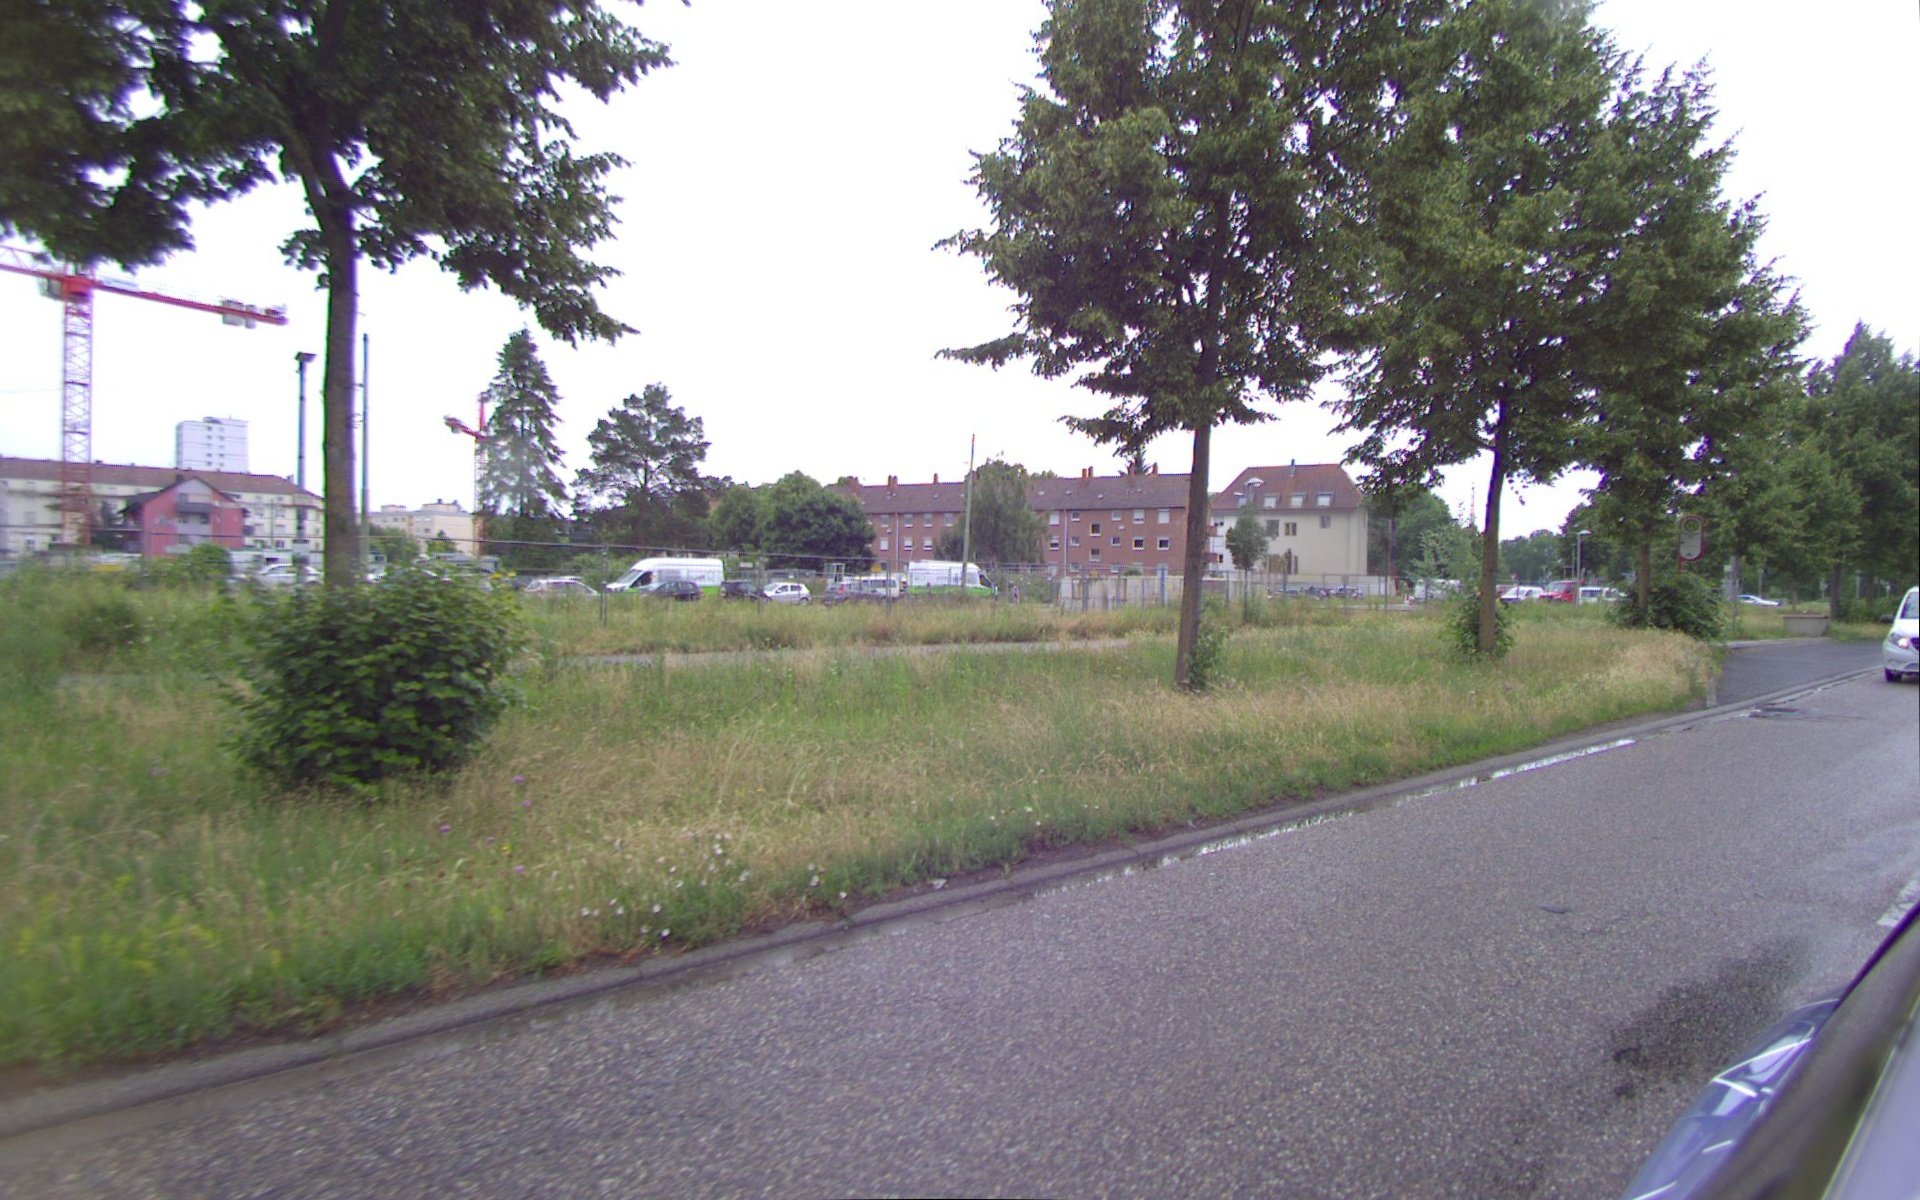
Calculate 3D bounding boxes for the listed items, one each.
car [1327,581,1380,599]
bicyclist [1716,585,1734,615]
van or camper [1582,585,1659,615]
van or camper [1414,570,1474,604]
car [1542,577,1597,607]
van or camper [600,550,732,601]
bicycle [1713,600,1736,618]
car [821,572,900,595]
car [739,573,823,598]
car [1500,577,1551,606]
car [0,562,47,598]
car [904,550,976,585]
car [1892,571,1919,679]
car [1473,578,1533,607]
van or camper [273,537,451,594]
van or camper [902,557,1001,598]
[{"bbox_3d":[34.837,-0.899,89.730,3.916,1.572,2.004,0,0,-14],"label":"car"},{"bbox_3d":[40.250,-0.009,53.275,0.825,1.524,0.537,0,1,-37],"label":"bicyclist"},{"bbox_3d":[46.948,-0.020,71.939,4.322,2.039,1.831,1,0,44],"label":"van or camper"},{"bbox_3d":[45.047,-1.197,94.222,5.399,3.073,2.349,0,-1,-30],"label":"van or camper"},{"bbox_3d":[48.462,-0.628,80.502,3.918,2.340,2.003,1,0,-28],"label":"car"},{"bbox_3d":[-15.827,-1.273,54.760,6.311,2.568,2.779,0,0,-43],"label":"van or camper"},{"bbox_3d":[40.284,0.470,53.311,1.713,0.889,0.548,0,1,-37],"label":"bicycle"},{"bbox_3d":[-6.291,-1.030,64.300,4.681,1.369,2.092,0,1,-44],"label":"car"},{"bbox_3d":[-10.568,-0.839,60.026,4.681,1.369,1.843,0,1,-44],"label":"car"},{"bbox_3d":[46.696,-0.723,83.574,3.921,2.340,2.001,0,0,-32],"label":"car"},{"bbox_3d":[-37.298,-0.787,38.330,3.960,1.369,1.700,0,1,-40],"label":"car"},{"bbox_3d":[-1.343,-2.157,69.178,4.681,2.248,2.273,0,0,-44],"label":"car"},{"bbox_3d":[20.098,0.459,19.962,5.003,2.004,1.971,0,1,-41],"label":"car"},{"bbox_3d":[46.480,-0.636,86.587,5.338,2.340,2.200,0,0,-32],"label":"car"},{"bbox_3d":[-26.682,-1.441,45.365,6.536,2.337,2.505,0,-1,-43],"label":"van or camper"},{"bbox_3d":[-0.443,-1.324,61.032,6.044,2.336,2.205,0,0,-43],"label":"van or camper"}]
